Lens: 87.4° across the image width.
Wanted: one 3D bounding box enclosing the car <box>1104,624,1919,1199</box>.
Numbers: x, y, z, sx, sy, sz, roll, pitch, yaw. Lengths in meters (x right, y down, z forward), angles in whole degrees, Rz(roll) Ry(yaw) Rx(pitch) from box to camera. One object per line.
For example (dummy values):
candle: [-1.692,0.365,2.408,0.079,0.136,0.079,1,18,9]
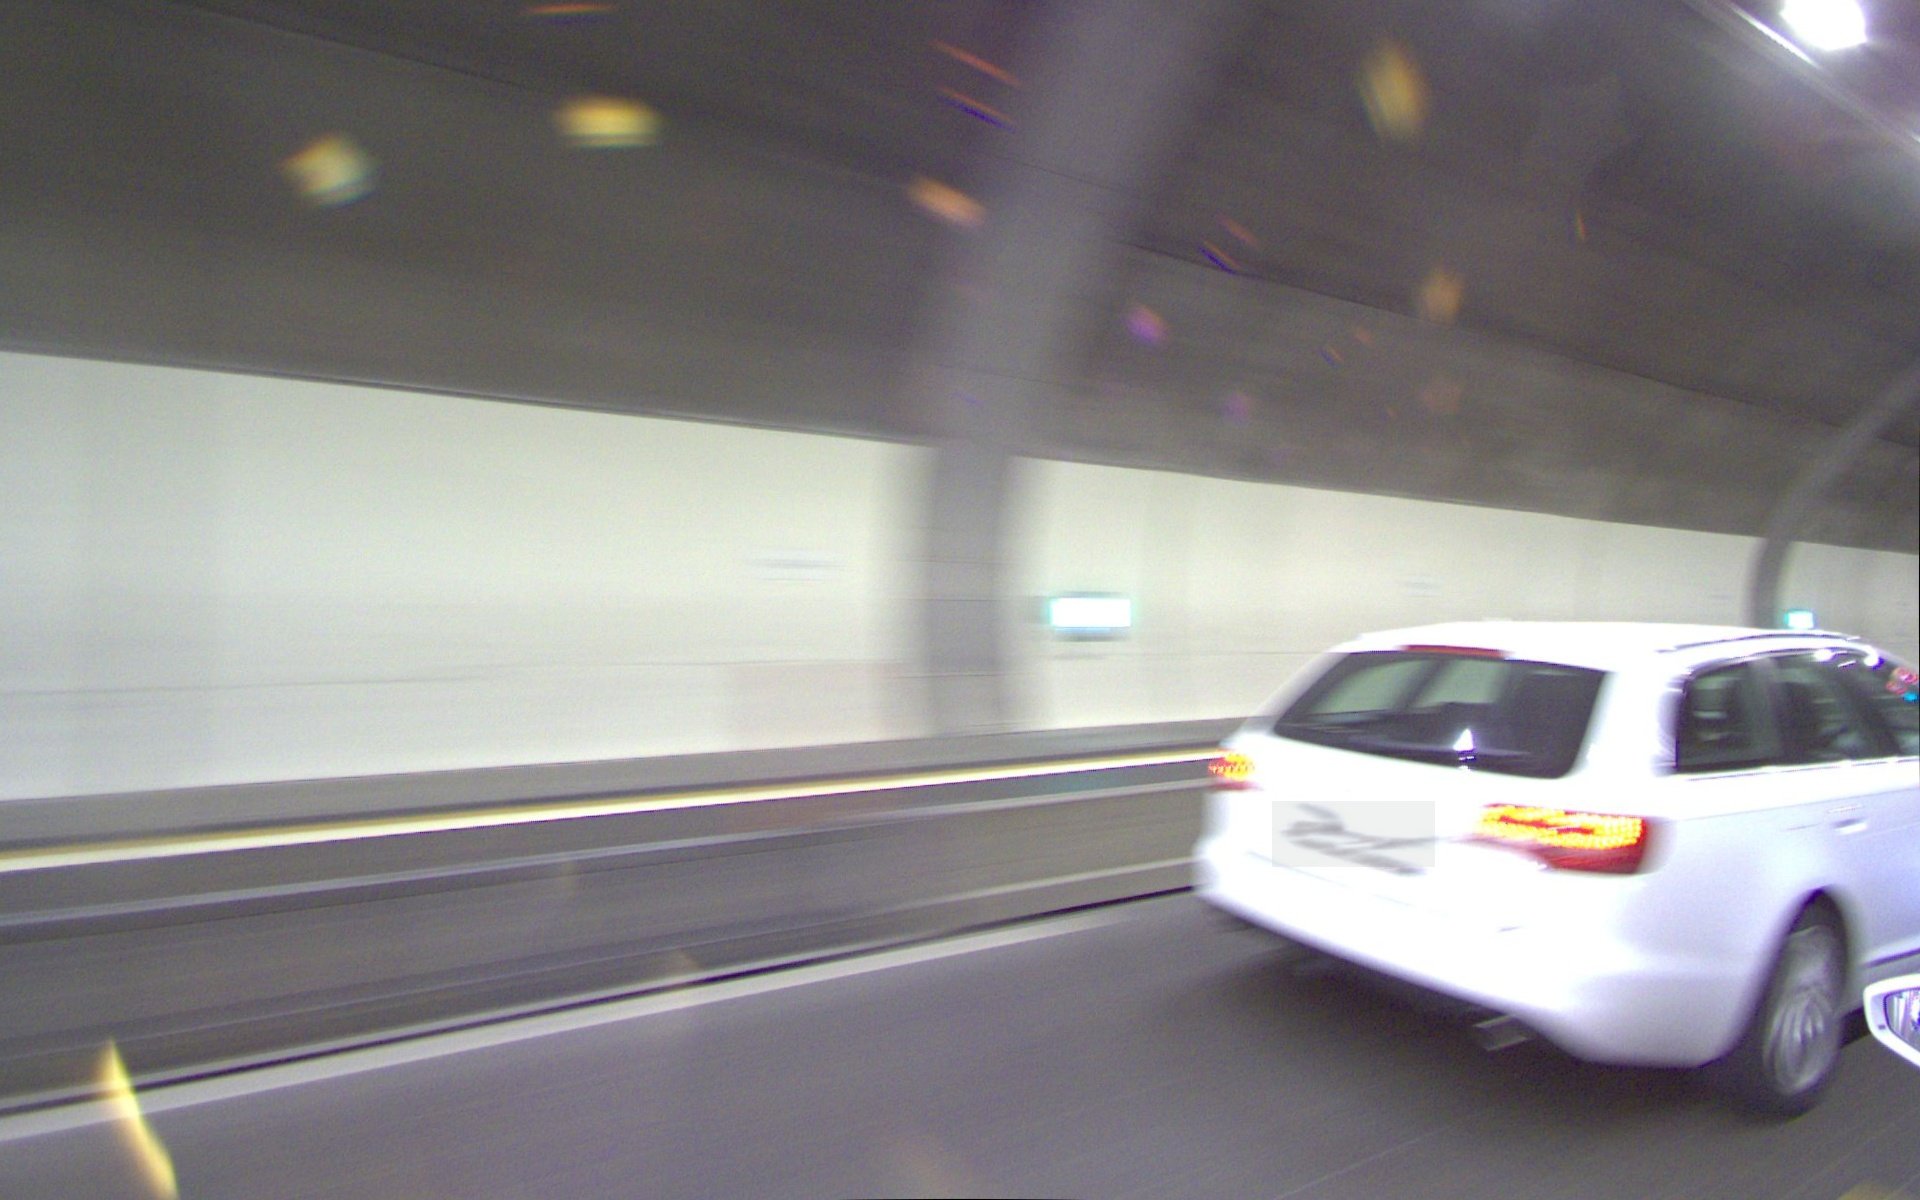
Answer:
car: [3.139,0.893,4.328,4.887,1.504,1.894,0,-4,-31]
